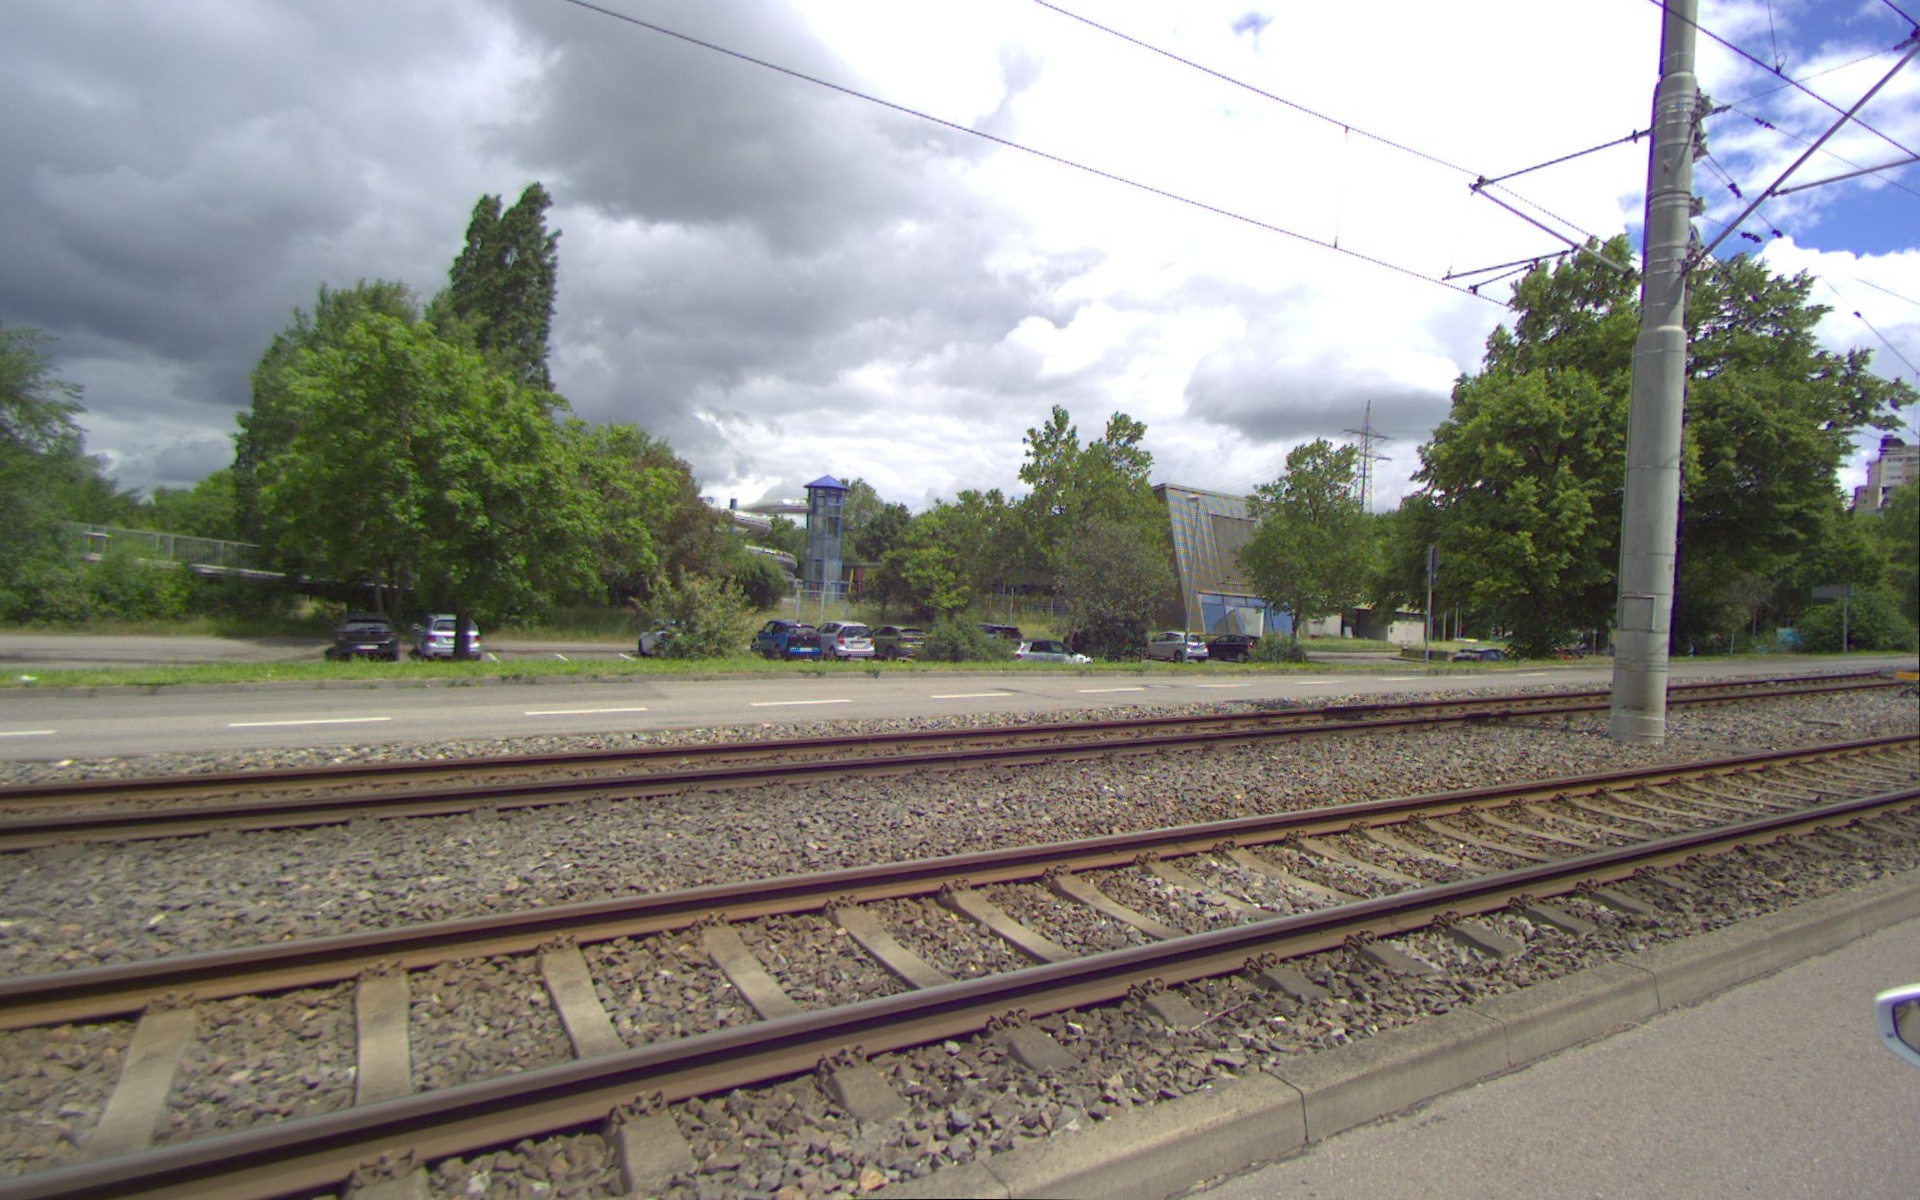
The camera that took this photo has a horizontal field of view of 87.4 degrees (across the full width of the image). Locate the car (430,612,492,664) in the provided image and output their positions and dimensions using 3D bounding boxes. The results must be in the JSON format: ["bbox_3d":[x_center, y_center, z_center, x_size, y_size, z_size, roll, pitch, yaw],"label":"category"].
[{"bbox_3d":[-16.599,1.235,33.547,1.552,1.409,3.859,4,1,-23],"label":"car"}]

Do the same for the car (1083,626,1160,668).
[{"bbox_3d":[7.547,2.192,47.168,1.923,1.659,3.587,2,1,-23],"label":"car"}]

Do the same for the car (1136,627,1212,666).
[{"bbox_3d":[10.844,2.336,51.153,1.832,1.620,3.977,2,1,-23],"label":"car"}]

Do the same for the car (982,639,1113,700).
[{"bbox_3d":[2.981,2.294,34.018,4.025,1.779,1.978,1,2,-33],"label":"car"}]

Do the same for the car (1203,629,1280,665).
[{"bbox_3d":[14.935,2.475,53.501,1.833,1.620,3.976,2,1,-24],"label":"car"}]

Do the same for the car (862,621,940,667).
[{"bbox_3d":[-2.550,1.816,42.548,1.969,1.601,3.941,1,2,-25],"label":"car"}]

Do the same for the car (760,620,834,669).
[{"bbox_3d":[-6.457,1.704,39.448,1.844,1.601,3.941,1,2,-25],"label":"car"}]

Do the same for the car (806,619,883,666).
[{"bbox_3d":[-4.797,1.701,41.192,1.967,1.601,3.941,1,2,-25],"label":"car"}]

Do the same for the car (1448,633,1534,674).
[{"bbox_3d":[25.322,2.507,47.875,3.954,1.795,1.807,1,0,-31],"label":"car"}]

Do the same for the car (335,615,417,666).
[{"bbox_3d":[-18.903,1.279,32.674,1.753,1.293,3.954,4,1,-23],"label":"car"}]

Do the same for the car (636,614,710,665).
[{"bbox_3d":[-10.781,1.418,37.560,1.820,1.601,3.898,1,2,-29],"label":"car"}]

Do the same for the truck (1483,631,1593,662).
[{"bbox_3d":[55.466,4.414,96.664,2.587,2.731,9.039,1,-2,-32],"label":"truck"}]
